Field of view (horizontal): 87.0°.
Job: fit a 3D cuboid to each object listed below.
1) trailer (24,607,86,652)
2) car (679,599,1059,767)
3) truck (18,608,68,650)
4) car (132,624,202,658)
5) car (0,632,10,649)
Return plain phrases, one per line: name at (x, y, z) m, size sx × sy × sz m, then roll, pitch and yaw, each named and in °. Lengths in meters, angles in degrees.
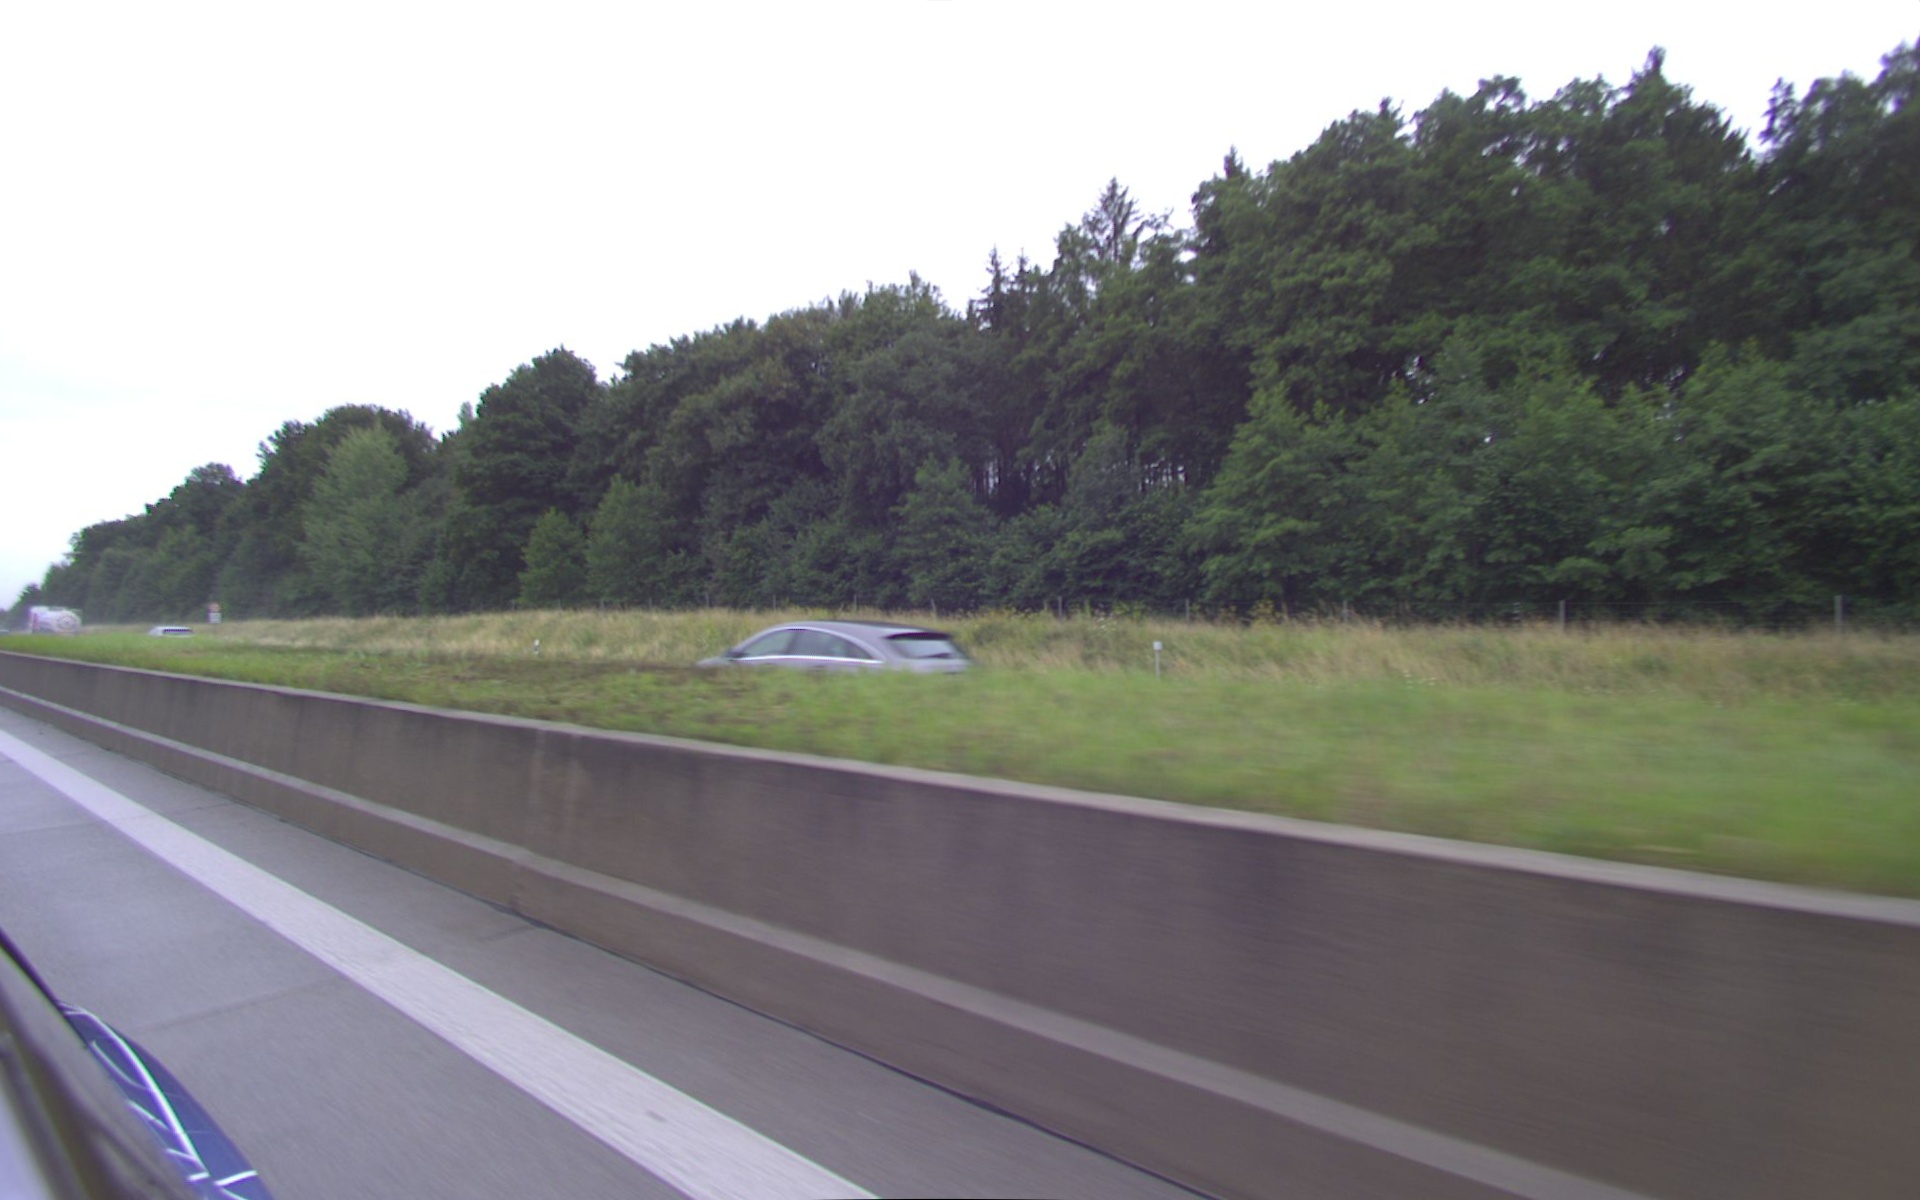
trailer at (-84.467, 2.787, 94.338) m, size 11.126 × 4.002 × 2.638 m, roll -2°, pitch -2°, yaw 40°
car at (-1.169, 0.824, 11.495) m, size 4.343 × 1.554 × 1.796 m, roll -1°, pitch -2°, yaw 41°
truck at (-88.660, 2.778, 97.838) m, size 6.430 × 3.905 × 2.638 m, roll -1°, pitch -2°, yaw 40°
car at (-38.597, 1.956, 49.228) m, size 4.636 × 1.555 × 1.793 m, roll -1°, pitch -2°, yaw 41°
car at (-86.715, 3.622, 90.594) m, size 4.557 × 1.555 × 1.973 m, roll -2°, pitch -2°, yaw 40°
